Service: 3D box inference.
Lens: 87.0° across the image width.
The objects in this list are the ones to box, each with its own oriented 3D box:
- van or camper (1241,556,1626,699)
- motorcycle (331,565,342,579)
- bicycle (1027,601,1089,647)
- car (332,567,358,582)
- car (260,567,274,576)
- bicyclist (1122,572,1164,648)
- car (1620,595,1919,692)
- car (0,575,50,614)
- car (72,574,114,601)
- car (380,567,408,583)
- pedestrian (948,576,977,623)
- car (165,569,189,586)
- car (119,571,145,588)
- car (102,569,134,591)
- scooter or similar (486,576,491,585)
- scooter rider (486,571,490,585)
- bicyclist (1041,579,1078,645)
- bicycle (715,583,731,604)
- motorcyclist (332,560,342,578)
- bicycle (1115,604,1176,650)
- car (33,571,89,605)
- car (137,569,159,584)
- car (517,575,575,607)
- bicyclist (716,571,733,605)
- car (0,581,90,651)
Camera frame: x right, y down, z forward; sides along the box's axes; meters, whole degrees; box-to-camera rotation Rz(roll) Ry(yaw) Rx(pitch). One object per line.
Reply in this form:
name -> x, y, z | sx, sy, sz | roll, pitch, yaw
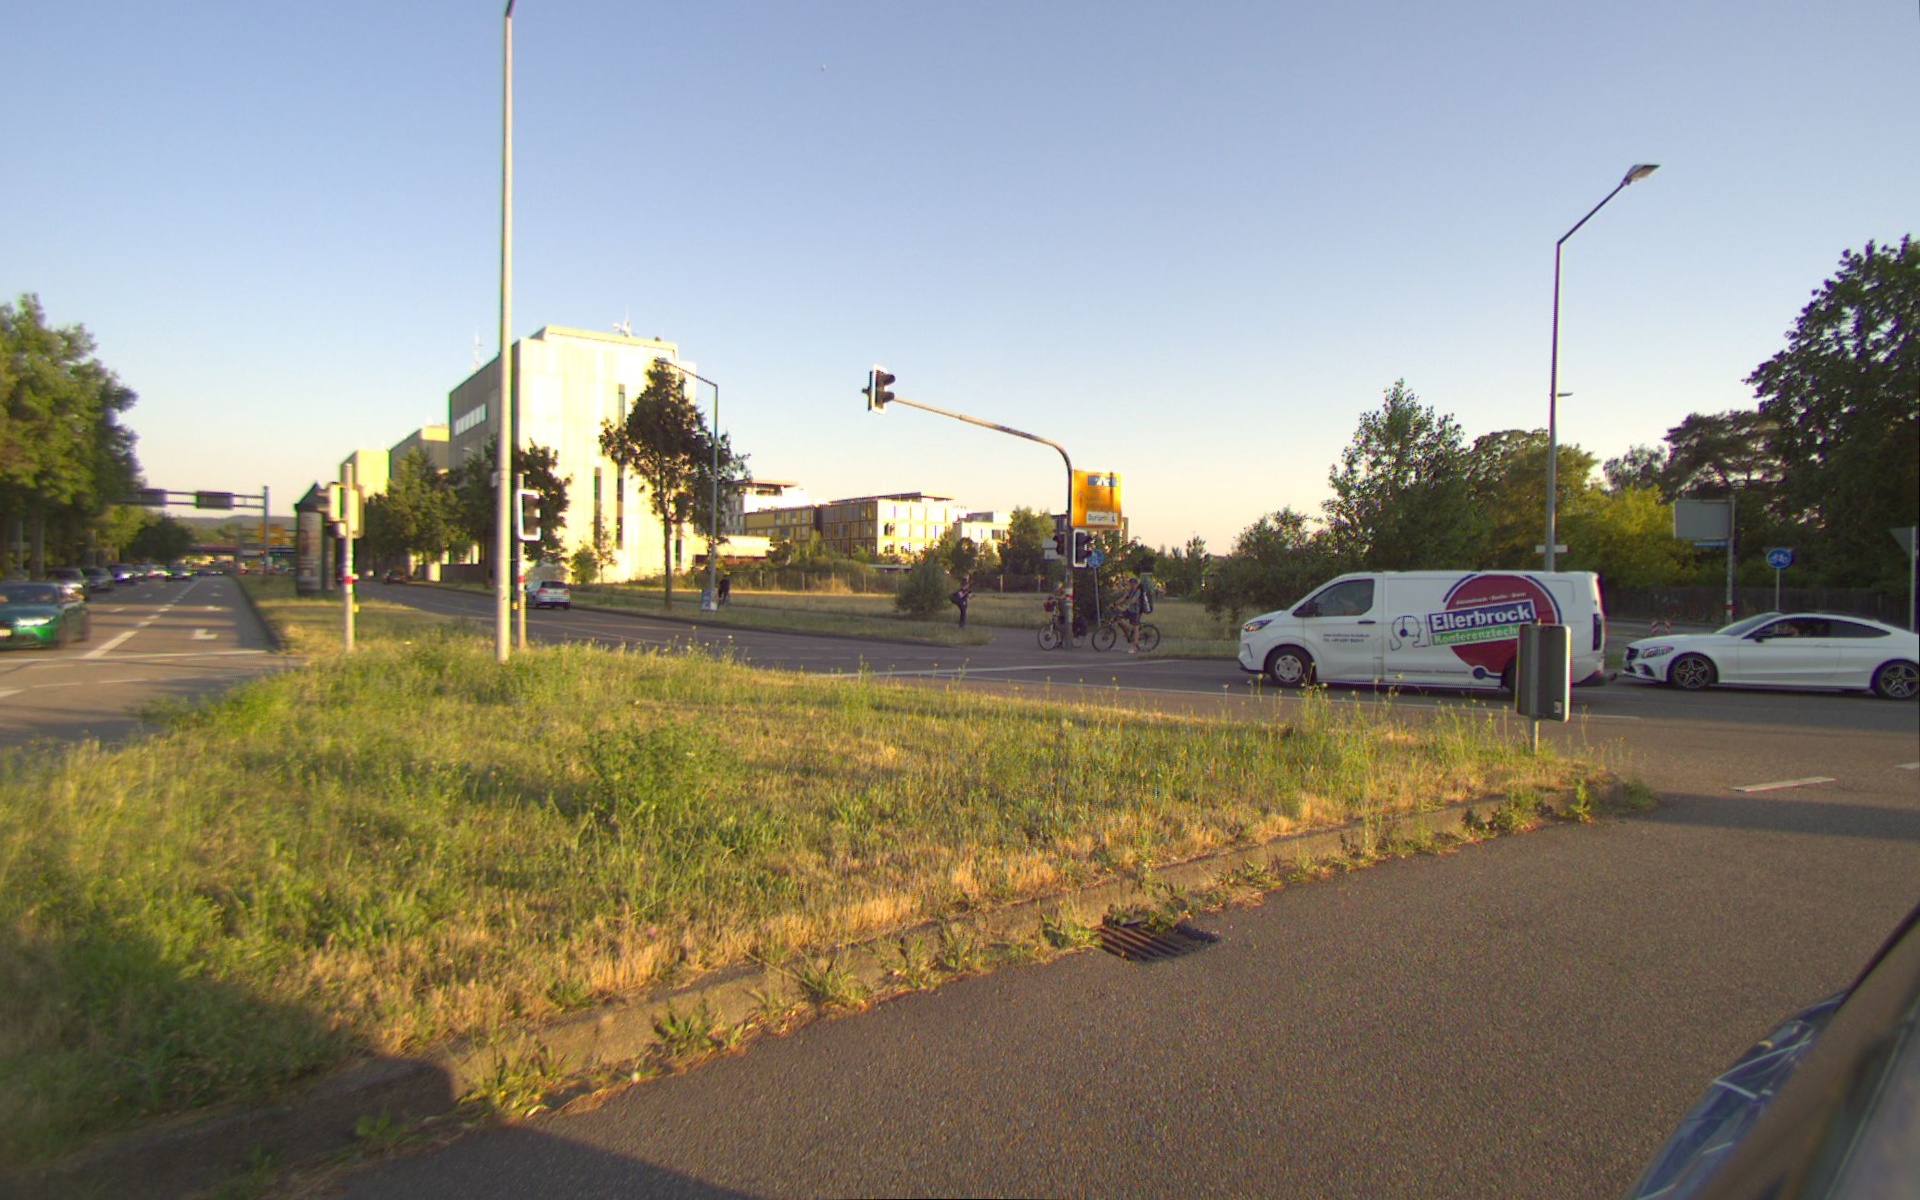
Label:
van or camper -> 7.401, 0.322, 16.238 | 5.281, 1.982, 1.980 | 1, 1, 29
motorcycle -> -49.855, -2.247, 80.914 | 0.548, 1.114, 2.158 | 0, 1, -38
bicycle -> 2.642, 0.633, 27.132 | 1.894, 1.098, 0.456 | -3, 3, -40
car -> -63.365, -2.657, 104.246 | 1.770, 1.440, 4.447 | 1, 1, -37
car -> -130.524, -5.317, 190.603 | 1.785, 1.544, 4.133 | 1, 1, -38
bicyclist -> 4.738, 0.246, 26.197 | 0.894, 1.921, 0.640 | -2, 2, -40
car -> 14.231, 0.690, 17.421 | 4.505, 1.448, 1.733 | 1, 1, 21
car -> -34.082, -0.217, 36.408 | 1.589, 1.325, 3.716 | -1, 2, -36
car -> -52.323, -0.782, 61.125 | 1.589, 1.537, 3.716 | -1, 2, -36
car -> -54.154, -2.392, 96.879 | 1.770, 1.482, 3.998 | 1, 1, -37
pedestrian -> 0.086, -0.022, 34.309 | 0.782, 1.569, 0.567 | 0, 1, -37
car -> -69.364, -2.014, 89.682 | 1.589, 1.471, 3.716 | -1, 2, -36
car -> -73.428, -1.854, 89.757 | 1.589, 1.471, 3.716 | -1, 2, -36
car -> -62.870, -1.502, 75.624 | 1.589, 1.537, 3.716 | -1, 2, -36
scooter or similar -> -48.063, -1.948, 103.077 | 0.242, 0.925, 1.039 | 0, 1, -37
scooter rider -> -48.054, -2.227, 103.041 | 0.260, 1.356, 0.406 | 1, 1, -37
bicyclist -> 2.675, 0.307, 27.240 | 0.757, 1.722, 0.640 | -3, 3, -40
bicycle -> -12.627, -0.354, 53.815 | 0.275, 1.102, 1.372 | 1, 1, -37
motorcyclist -> -49.667, -2.502, 80.673 | 0.625, 1.426, 0.594 | 0, 1, -38
bicycle -> 4.815, 0.680, 26.258 | 1.894, 1.098, 0.456 | -2, 2, -40
car -> -42.127, -0.592, 47.480 | 1.589, 1.537, 3.716 | -1, 2, -36
car -> -83.308, -2.438, 103.838 | 1.589, 1.471, 3.716 | -1, 2, -36
car -> -21.047, -0.478, 51.350 | 1.857, 1.499, 4.051 | 0, 1, -35
bicyclist -> -12.530, -0.642, 53.821 | 0.527, 1.765, 0.843 | 1, 1, -38
car -> -20.031, 0.286, 21.479 | 1.840, 1.325, 4.140 | -1, 2, -34
